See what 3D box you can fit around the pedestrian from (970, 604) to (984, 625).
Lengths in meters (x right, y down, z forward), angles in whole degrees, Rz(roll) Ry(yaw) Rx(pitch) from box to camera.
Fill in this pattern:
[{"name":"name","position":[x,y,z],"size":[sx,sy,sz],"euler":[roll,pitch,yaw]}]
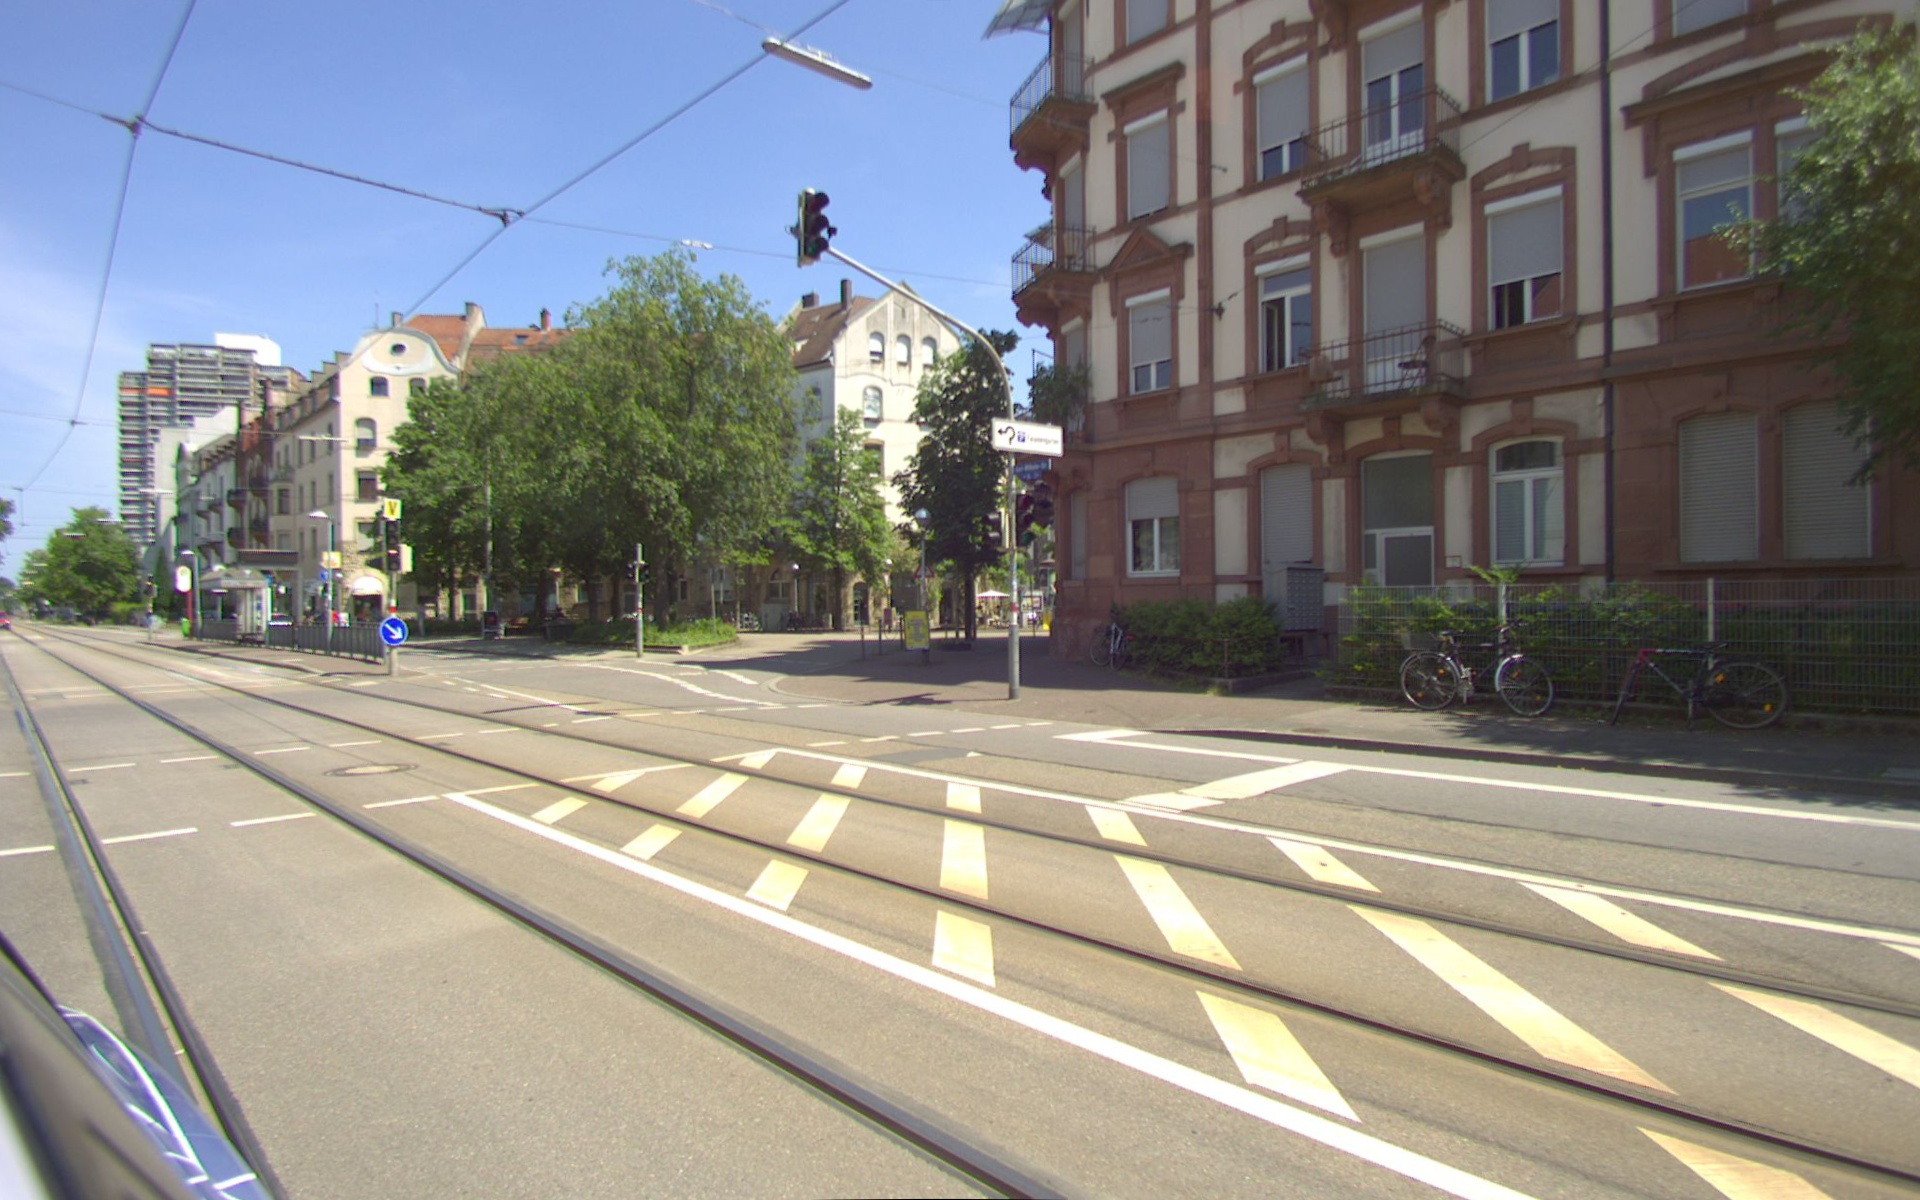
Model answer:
[{"name":"pedestrian","position":[1.069,0.910,63.731],"size":[0.702,1.360,0.596],"euler":[-1,-1,39]}]

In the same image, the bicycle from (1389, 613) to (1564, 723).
[{"name":"bicycle","position":[5.995,0.747,11.817],"size":[0.566,1.177,1.718],"euler":[-1,0,-41]}]

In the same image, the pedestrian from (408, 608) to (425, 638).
[{"name":"pedestrian","position":[-26.684,1.121,49.675],"size":[0.519,1.452,0.530],"euler":[-1,-1,36]}]

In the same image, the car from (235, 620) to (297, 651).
[{"name":"car","position":[-31.723,1.606,46.246],"size":[1.673,1.320,3.851],"euler":[-1,0,-45]}]

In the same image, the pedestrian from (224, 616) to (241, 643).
[{"name":"pedestrian","position":[-47.441,1.930,66.038],"size":[0.796,1.733,0.765],"euler":[-1,0,-29]}]

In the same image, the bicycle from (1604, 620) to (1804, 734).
[{"name":"bicycle","position":[7.516,0.739,10.288],"size":[0.453,1.064,1.566],"euler":[-1,0,-41]}]

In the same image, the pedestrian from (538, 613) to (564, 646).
[{"name":"pedestrian","position":[-16.990,1.206,42.024],"size":[0.810,1.327,0.653],"euler":[-1,0,-39]}]

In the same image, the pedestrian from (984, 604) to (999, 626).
[{"name":"pedestrian","position":[2.014,0.973,64.781],"size":[0.691,1.360,0.605],"euler":[0,-1,-33]}]

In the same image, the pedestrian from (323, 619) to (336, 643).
[{"name":"pedestrian","position":[-37.791,1.868,60.667],"size":[0.519,1.452,0.530],"euler":[-1,-1,36]}]

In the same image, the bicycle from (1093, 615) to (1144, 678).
[{"name":"bicycle","position":[3.063,0.874,19.665],"size":[0.459,1.116,1.927],"euler":[-1,0,-7]}]

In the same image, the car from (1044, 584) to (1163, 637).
[{"name":"car","position":[5.940,0.414,41.896],"size":[4.510,2.082,2.007],"euler":[-1,0,-25]}]

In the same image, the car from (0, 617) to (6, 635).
[{"name":"car","position":[-88.028,2.368,91.945],"size":[4.425,1.564,1.713],"euler":[-1,-1,44]}]
